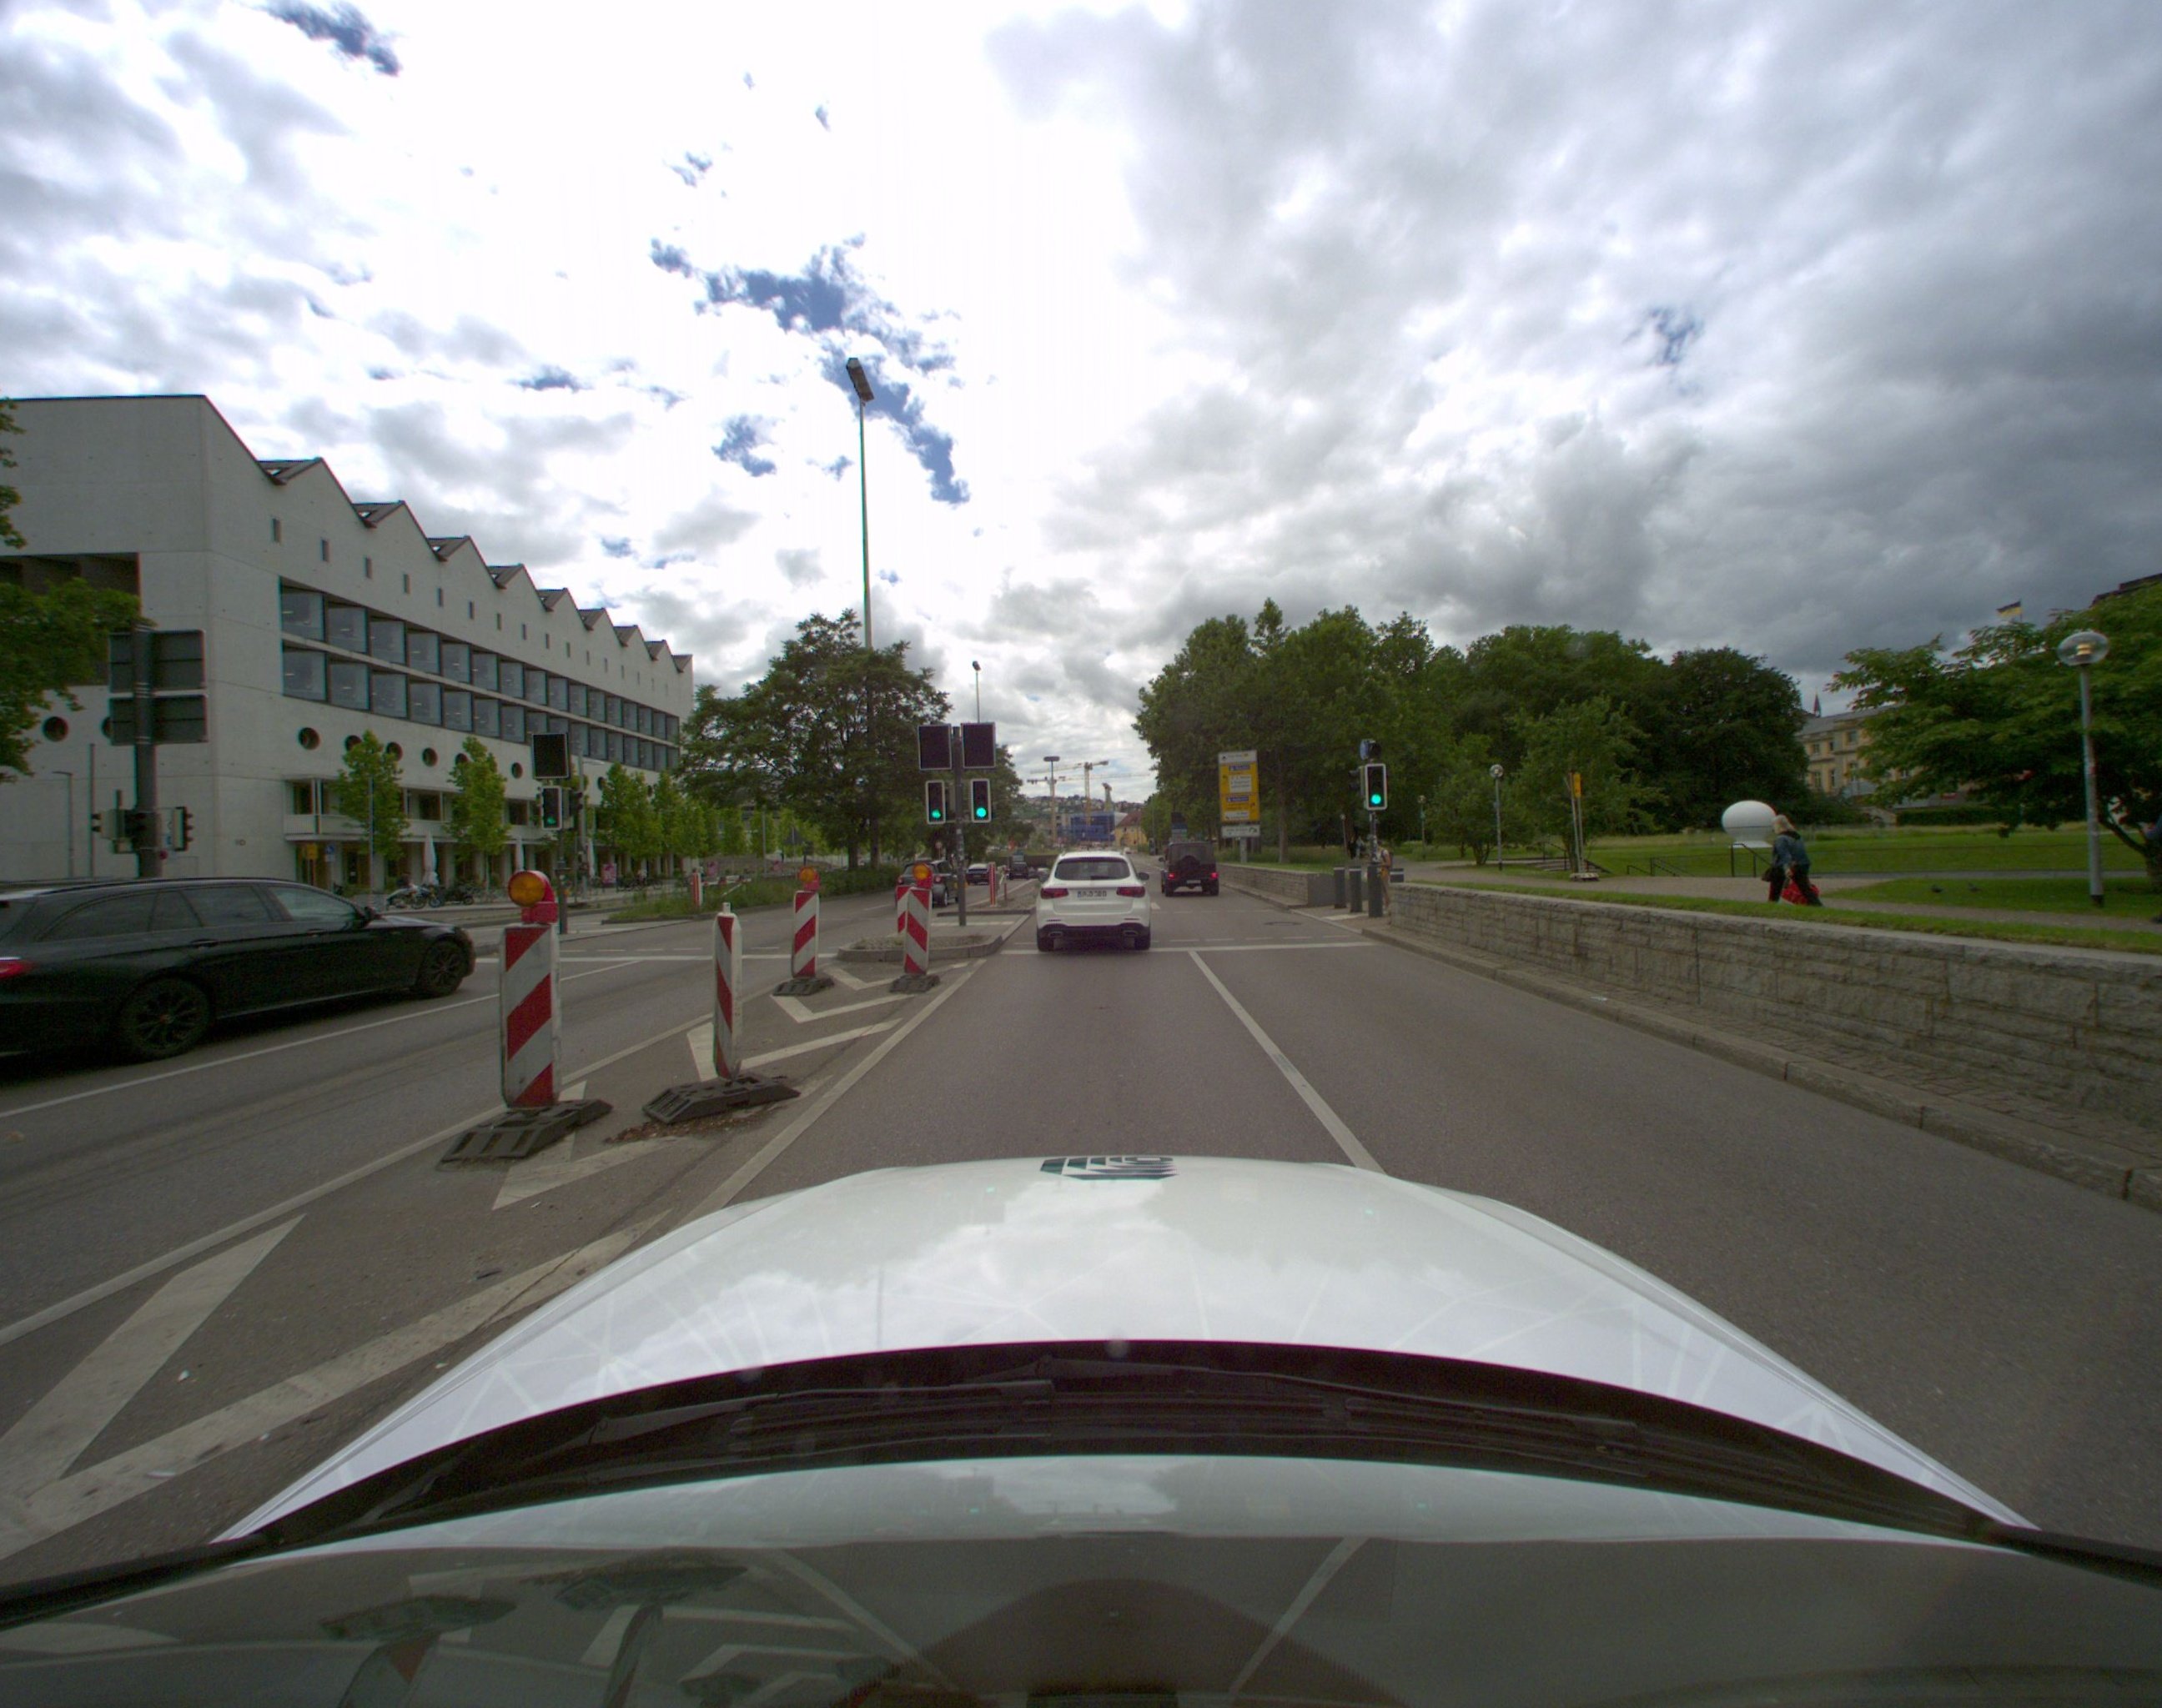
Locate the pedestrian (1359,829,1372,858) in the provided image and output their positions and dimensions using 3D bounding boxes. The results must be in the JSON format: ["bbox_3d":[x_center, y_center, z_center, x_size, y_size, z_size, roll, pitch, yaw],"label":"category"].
[{"bbox_3d":[20.237,-0.728,57.917,0.568,2.014,0.932,0,-1,1],"label":"pedestrian"}]

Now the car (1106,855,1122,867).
[{"bbox_3d":[4.511,0.971,110.558,1.987,1.662,3.999,0,-1,0],"label":"car"}]

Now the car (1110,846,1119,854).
[{"bbox_3d":[7.589,-0.896,185.952,1.714,1.584,3.997,0,0,-2],"label":"car"}]

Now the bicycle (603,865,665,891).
[{"bbox_3d":[-31.930,1.703,58.269,3.614,1.684,1.178,-2,0,-11],"label":"bicycle"}]

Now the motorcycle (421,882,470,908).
[{"bbox_3d":[-33.113,2.141,42.479,1.893,1.234,0.653,-2,-3,-25],"label":"motorcycle"}]

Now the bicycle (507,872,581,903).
[{"bbox_3d":[-32.896,2.019,49.910,3.603,1.684,1.182,-2,0,-2],"label":"bicycle"}]

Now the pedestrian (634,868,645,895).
[{"bbox_3d":[-35.703,2.207,65.843,0.714,2.012,0.732,-3,5,-27],"label":"pedestrian"}]

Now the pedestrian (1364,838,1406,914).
[{"bbox_3d":[6.766,0.486,18.157,0.695,1.656,0.683,0,-1,-1],"label":"pedestrian"}]

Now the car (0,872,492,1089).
[{"bbox_3d":[-8.362,0.929,7.893,1.807,1.460,4.860,-1,-1,-1],"label":"car"}]

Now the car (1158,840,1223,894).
[{"bbox_3d":[4.070,0.501,30.981,1.970,1.893,4.708,0,-1,1],"label":"car"}]

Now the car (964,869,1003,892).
[{"bbox_3d":[-6.182,1.656,51.862,1.711,1.292,4.004,0,0,4],"label":"car"}]

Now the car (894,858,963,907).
[{"bbox_3d":[-5.069,0.924,27.429,1.622,1.509,3.539,-1,-1,0],"label":"car"}]

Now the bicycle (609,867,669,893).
[{"bbox_3d":[-32.488,1.889,59.979,3.614,1.684,1.178,-2,0,-11],"label":"bicycle"}]

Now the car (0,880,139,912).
[{"bbox_3d":[-45.587,1.895,36.744,3.974,1.276,1.751,1,-1,-1],"label":"car"}]

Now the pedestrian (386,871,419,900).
[{"bbox_3d":[-36.611,1.692,43.930,1.094,1.568,0.761,0,-1,3],"label":"pedestrian"}]

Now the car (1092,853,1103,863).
[{"bbox_3d":[2.968,0.708,145.880,1.987,1.781,3.999,0,-1,0],"label":"car"}]

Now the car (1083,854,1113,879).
[{"bbox_3d":[1.122,0.784,55.011,1.916,1.602,3.999,-1,0,0],"label":"car"}]

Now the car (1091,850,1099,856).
[{"bbox_3d":[3.263,-0.238,191.121,1.714,1.584,3.997,0,0,-2],"label":"car"}]

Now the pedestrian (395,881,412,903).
[{"bbox_3d":[-41.634,2.323,50.067,0.517,1.327,0.565,-3,-2,0],"label":"pedestrian"}]

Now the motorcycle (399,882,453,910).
[{"bbox_3d":[-31.304,2.009,38.950,1.893,1.234,0.653,-2,-3,-25],"label":"motorcycle"}]

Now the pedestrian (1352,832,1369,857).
[{"bbox_3d":[20.264,-0.675,59.098,0.992,1.836,1.031,0,-1,4],"label":"pedestrian"}]

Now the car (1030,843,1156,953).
[{"bbox_3d":[0.167,0.709,14.561,1.935,1.684,3.998,0,-1,-1],"label":"car"}]

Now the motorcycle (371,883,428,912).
[{"bbox_3d":[-31.518,2.018,37.710,1.893,1.234,0.653,-2,-3,-25],"label":"motorcycle"}]

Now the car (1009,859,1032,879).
[{"bbox_3d":[-5.165,1.240,69.684,1.714,1.678,3.997,0,0,-2],"label":"car"}]

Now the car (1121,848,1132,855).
[{"bbox_3d":[10.806,-0.649,193.070,1.990,1.618,3.993,0,-1,-5],"label":"car"}]

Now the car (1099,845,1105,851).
[{"bbox_3d":[6.602,-1.893,258.412,1.794,2.014,3.999,0,-1,0],"label":"car"}]

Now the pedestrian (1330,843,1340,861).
[{"bbox_3d":[19.280,-0.152,61.864,0.580,1.325,0.542,0,-2,1],"label":"pedestrian"}]

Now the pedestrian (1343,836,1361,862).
[{"bbox_3d":[18.088,-0.329,54.363,0.893,1.732,0.969,0,0,1],"label":"pedestrian"}]

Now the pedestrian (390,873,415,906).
[{"bbox_3d":[-33.239,1.720,39.872,0.887,1.557,0.591,-2,-1,-43],"label":"pedestrian"}]

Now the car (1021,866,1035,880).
[{"bbox_3d":[-6.782,2.411,104.050,1.715,1.584,3.996,0,0,-3],"label":"car"}]

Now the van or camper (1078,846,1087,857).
[{"bbox_3d":[0.329,-0.581,185.158,1.916,2.320,3.998,-1,-2,0],"label":"van or camper"}]

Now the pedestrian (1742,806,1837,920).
[{"bbox_3d":[10.221,0.122,11.779,0.677,1.562,0.912,-2,0,17],"label":"pedestrian"}]

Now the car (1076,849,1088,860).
[{"bbox_3d":[0.229,0.101,142.236,1.986,1.757,4.001,0,-1,1],"label":"car"}]

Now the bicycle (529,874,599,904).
[{"bbox_3d":[-33.201,2.251,52.334,3.603,1.684,1.182,-2,0,-2],"label":"bicycle"}]

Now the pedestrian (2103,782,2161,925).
[{"bbox_3d":[12.723,-0.024,9.469,0.797,1.626,0.627,-2,0,8],"label":"pedestrian"}]

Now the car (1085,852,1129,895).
[{"bbox_3d":[1.025,0.779,33.131,1.666,1.628,4.000,0,-1,1],"label":"car"}]
